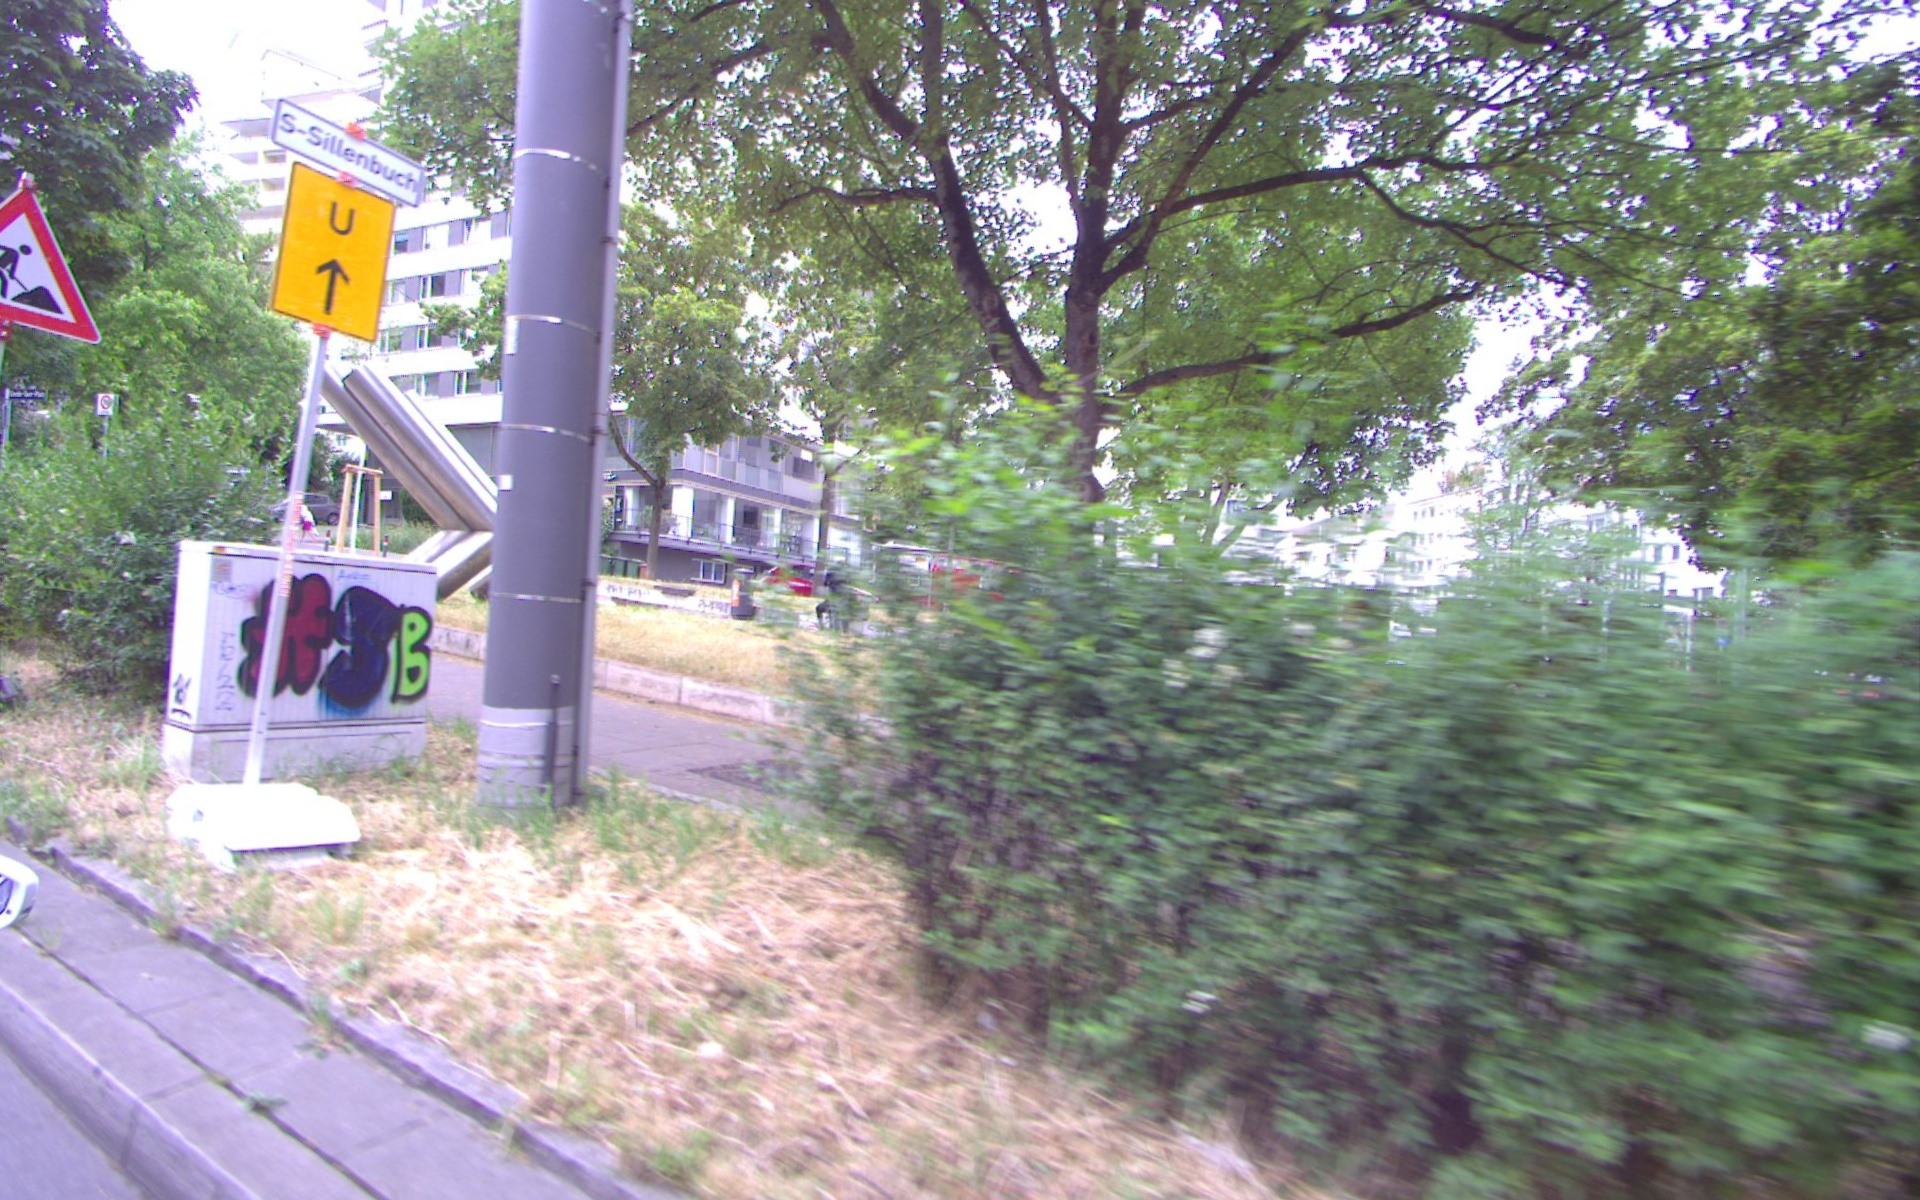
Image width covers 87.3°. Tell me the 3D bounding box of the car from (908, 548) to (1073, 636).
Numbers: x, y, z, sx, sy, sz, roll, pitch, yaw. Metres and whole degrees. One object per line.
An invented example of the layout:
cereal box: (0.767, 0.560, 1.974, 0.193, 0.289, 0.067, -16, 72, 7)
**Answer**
car: (1.007, -0.224, 32.026, 4.888, 2.050, 2.033, 7, -3, 5)

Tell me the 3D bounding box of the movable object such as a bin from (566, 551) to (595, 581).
movable object such as a bin: (-15.489, -1.365, 41.081, 0.700, 1.118, 0.824, 6, 1, 8)

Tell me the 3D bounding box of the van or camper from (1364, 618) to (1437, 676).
van or camper: (20.648, 2.269, 47.377, 2.257, 2.255, 5.451, 5, -4, 16)

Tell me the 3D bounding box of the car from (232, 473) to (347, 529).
car: (-32.517, -4.780, 48.931, 1.964, 2.039, 4.139, 7, 0, 24)

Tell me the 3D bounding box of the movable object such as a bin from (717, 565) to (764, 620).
movable object such as a bin: (-4.759, -0.169, 21.831, 0.599, 1.094, 0.670, 4, -3, 32)

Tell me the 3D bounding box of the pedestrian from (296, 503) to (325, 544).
pedestrian: (-26.373, -3.098, 40.843, 0.665, 1.519, 0.559, 6, 1, 5)

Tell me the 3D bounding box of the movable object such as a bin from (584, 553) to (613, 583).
movable object such as a bin: (-14.772, -1.307, 41.086, 0.700, 1.118, 0.824, 6, 1, 8)

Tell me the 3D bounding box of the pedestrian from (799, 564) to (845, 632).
pedestrian: (-2.834, -0.030, 20.655, 0.609, 1.317, 0.549, 7, 1, 29)

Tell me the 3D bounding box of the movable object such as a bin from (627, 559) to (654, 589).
movable object such as a bin: (-13.124, -1.064, 41.351, 0.668, 1.118, 0.824, 6, 1, 8)

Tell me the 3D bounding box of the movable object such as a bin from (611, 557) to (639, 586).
movable object such as a bin: (-13.819, -1.173, 41.518, 0.700, 1.118, 0.824, 6, 1, 8)

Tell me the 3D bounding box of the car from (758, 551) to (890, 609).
car: (-4.298, -0.618, 32.119, 3.848, 1.293, 1.622, 6, -3, 4)

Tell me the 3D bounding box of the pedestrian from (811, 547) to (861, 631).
pedestrian: (-2.422, -0.206, 19.660, 0.609, 1.562, 0.549, 7, 2, 29)
